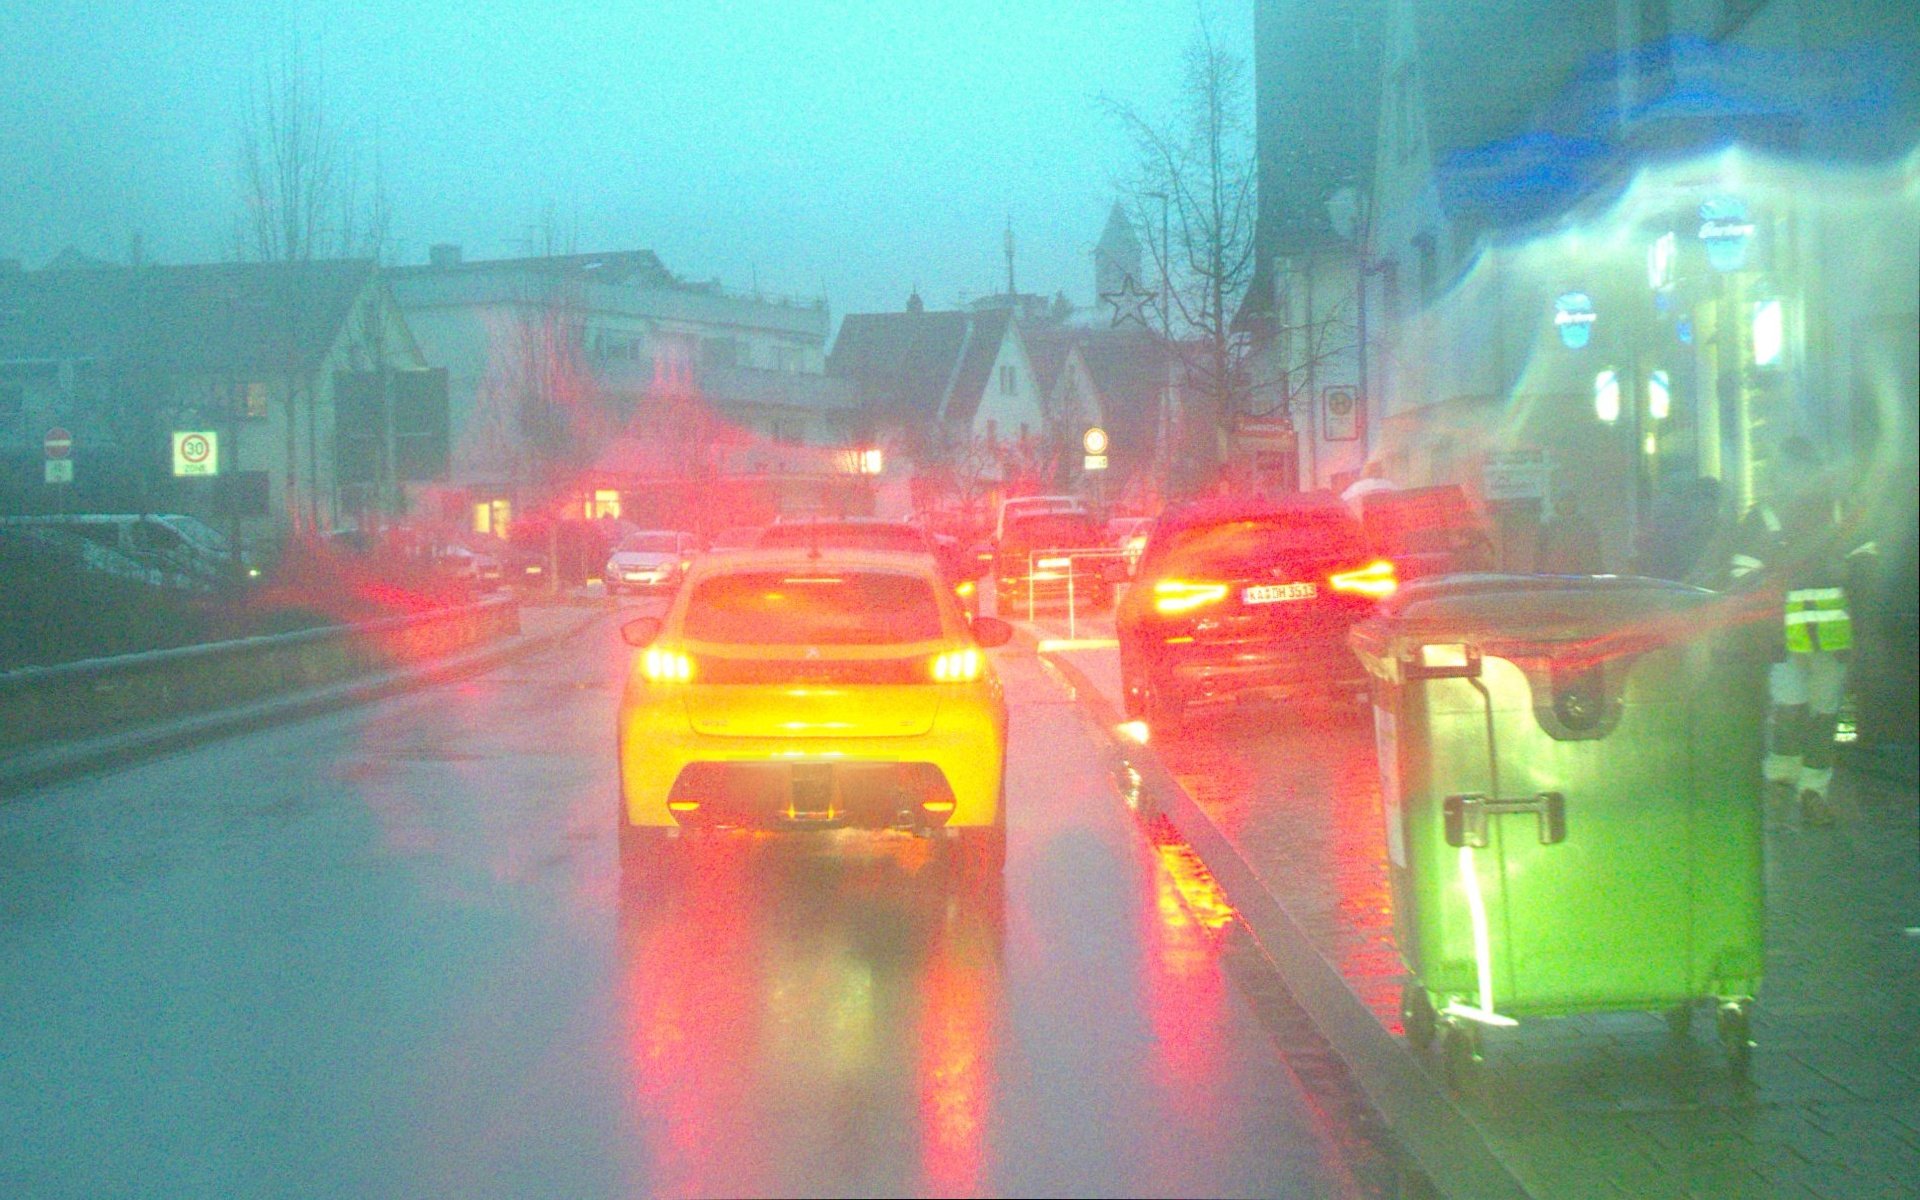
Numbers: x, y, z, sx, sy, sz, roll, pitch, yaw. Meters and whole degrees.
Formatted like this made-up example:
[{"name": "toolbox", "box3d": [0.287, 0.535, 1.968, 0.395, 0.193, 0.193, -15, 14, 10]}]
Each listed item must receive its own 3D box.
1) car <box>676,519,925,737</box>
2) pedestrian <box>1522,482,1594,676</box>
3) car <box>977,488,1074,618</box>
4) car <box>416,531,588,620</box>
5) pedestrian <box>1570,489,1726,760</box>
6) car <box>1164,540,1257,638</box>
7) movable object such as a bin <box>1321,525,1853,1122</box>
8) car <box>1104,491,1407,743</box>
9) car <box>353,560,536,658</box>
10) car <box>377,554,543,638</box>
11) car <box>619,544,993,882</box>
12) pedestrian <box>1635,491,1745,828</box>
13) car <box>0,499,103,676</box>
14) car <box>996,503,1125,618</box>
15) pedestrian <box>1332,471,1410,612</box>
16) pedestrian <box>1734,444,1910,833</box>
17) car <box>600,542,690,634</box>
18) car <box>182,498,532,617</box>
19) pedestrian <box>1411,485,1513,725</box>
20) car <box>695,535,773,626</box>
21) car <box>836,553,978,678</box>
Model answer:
[{"name": "car", "box3d": [-1.222, 0.177, 27.677, 1.766, 1.623, 3.586, 1, 1, 1]}, {"name": "pedestrian", "box3d": [5.362, -0.187, 30.823, 0.618, 1.721, 0.501, 0, -1, 11]}, {"name": "car", "box3d": [1.305, -0.920, 70.003, 1.870, 2.461, 4.443, 1, -1, 0]}, {"name": "car", "box3d": [-11.651, -0.599, 87.261, 4.383, 2.159, 1.995, -1, -2, 43]}, {"name": "pedestrian", "box3d": [4.243, 0.134, 21.249, 0.618, 1.621, 0.907, -1, 2, -14]}, {"name": "car", "box3d": [5.984, -0.235, 82.494, 1.993, 2.241, 4.000, 1, -1, 1]}, {"name": "movable object such as a bin", "box3d": [1.650, 0.549, 9.345, 1.129, 1.415, 1.417, -4, 2, 1]}, {"name": "car", "box3d": [2.110, 0.085, 25.649, 1.735, 1.686, 4.386, -1, 1, -2]}, {"name": "car", "box3d": [-12.265, 0.237, 81.645, 4.383, 2.244, 1.995, -1, -2, 43]}, {"name": "car", "box3d": [-12.311, -0.075, 84.523, 4.166, 1.969, 1.818, -1, -2, 43]}, {"name": "car", "box3d": [-0.674, 0.454, 16.037, 1.563, 1.408, 3.018, 1, 1, -1]}, {"name": "pedestrian", "box3d": [3.655, 0.278, 17.190, 0.480, 1.625, 1.018, -2, 1, 13]}, {"name": "car", "box3d": [-10.790, -0.120, 33.113, 4.625, 1.662, 2.000, 0, 0, -3]}, {"name": "car", "box3d": [1.637, -0.647, 57.509, 1.997, 1.858, 4.083, 0, 0, -1]}, {"name": "pedestrian", "box3d": [4.482, -0.645, 37.528, 0.618, 1.510, 0.734, -1, 2, -14]}, {"name": "pedestrian", "box3d": [3.942, 0.159, 15.773, 0.712, 1.709, 1.034, -2, 1, 13]}, {"name": "car", "box3d": [-7.335, -0.254, 80.367, 1.919, 2.021, 3.975, 1, -1, -3]}, {"name": "car", "box3d": [-9.898, -0.707, 56.501, 5.399, 1.811, 1.711, 1, 1, 13]}, {"name": "pedestrian", "box3d": [3.630, 0.032, 24.886, 0.573, 1.694, 0.653, -3, 0, 1]}, {"name": "car", "box3d": [-5.778, -0.474, 88.357, 1.919, 2.208, 3.975, 1, -1, -3]}, {"name": "car", "box3d": [-0.607, 0.142, 39.208, 1.541, 1.327, 3.311, 1, 1, -1]}]
